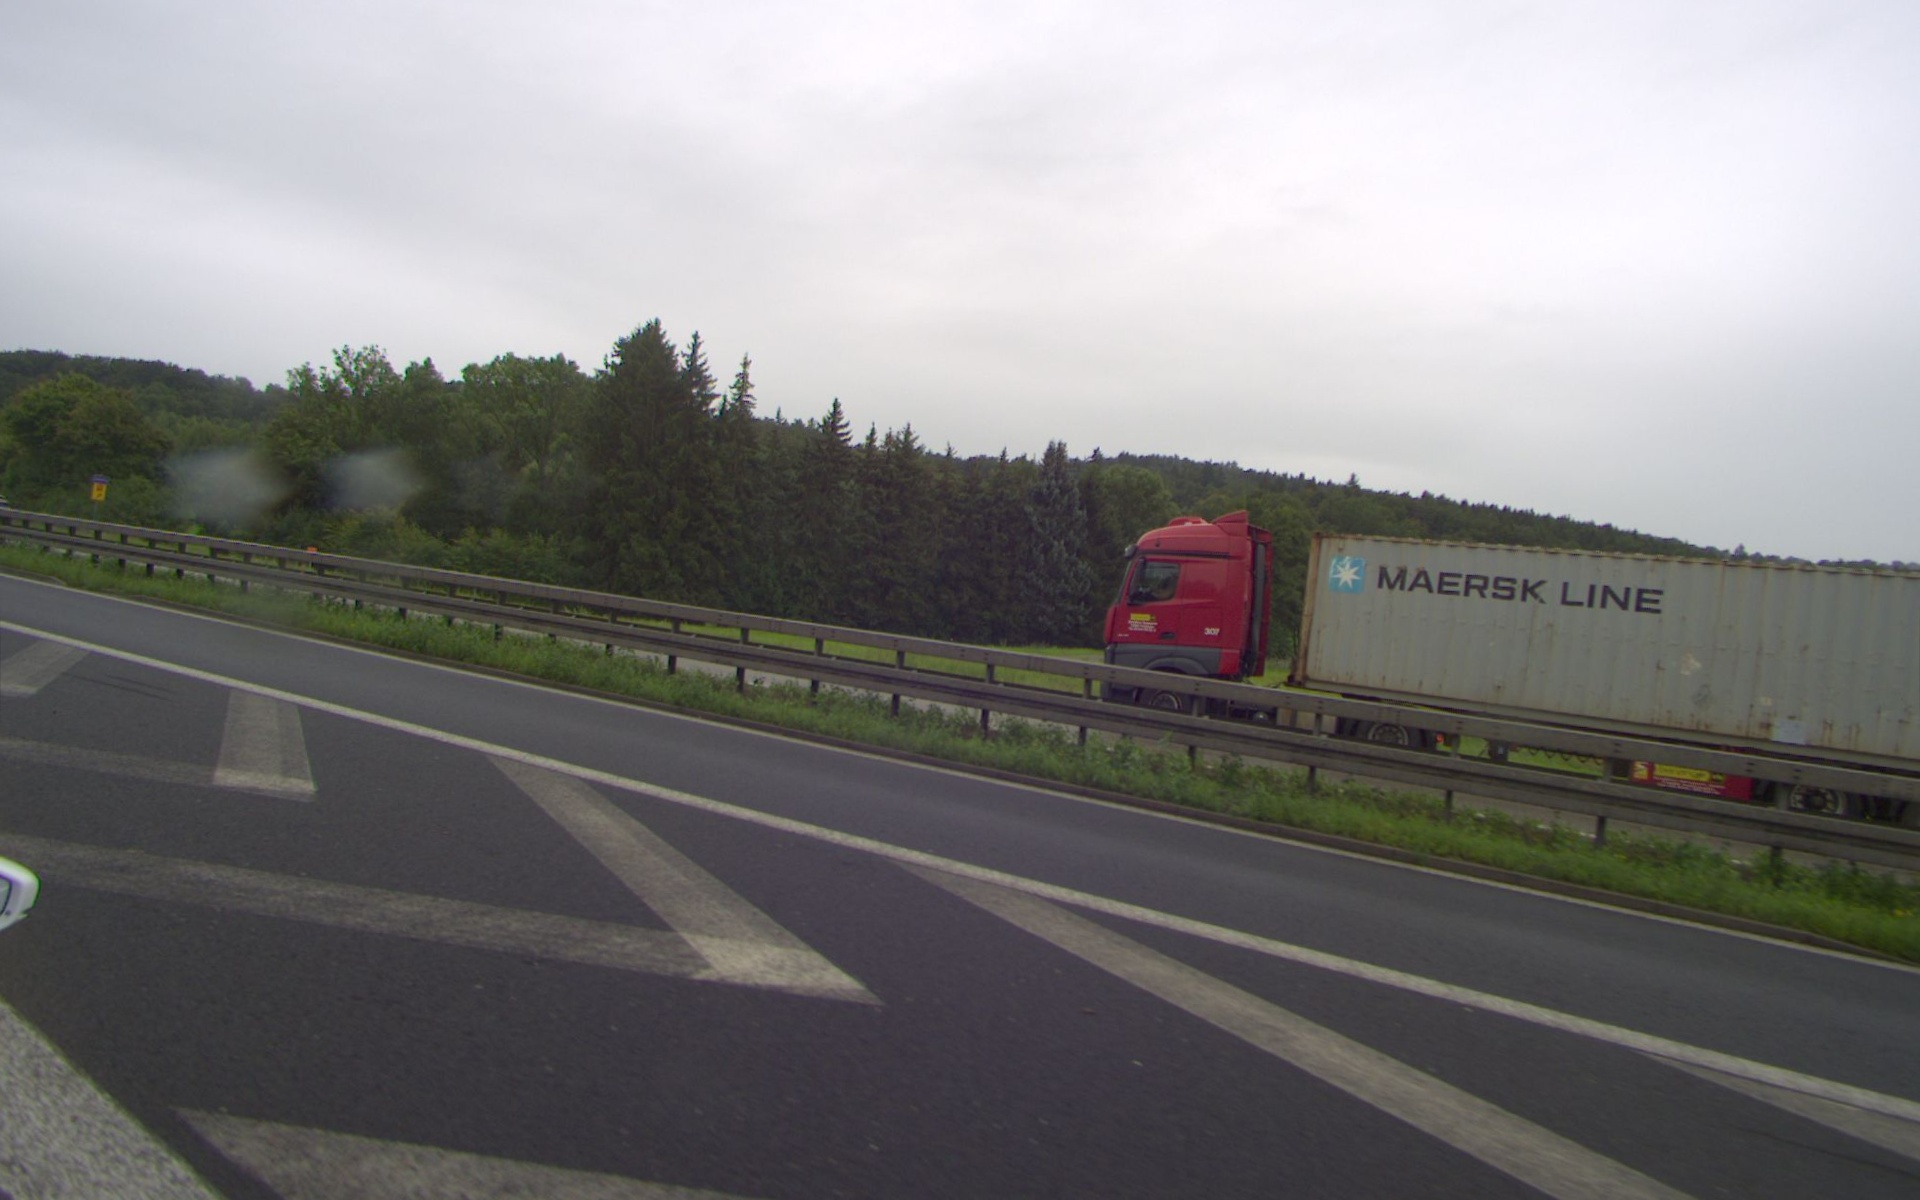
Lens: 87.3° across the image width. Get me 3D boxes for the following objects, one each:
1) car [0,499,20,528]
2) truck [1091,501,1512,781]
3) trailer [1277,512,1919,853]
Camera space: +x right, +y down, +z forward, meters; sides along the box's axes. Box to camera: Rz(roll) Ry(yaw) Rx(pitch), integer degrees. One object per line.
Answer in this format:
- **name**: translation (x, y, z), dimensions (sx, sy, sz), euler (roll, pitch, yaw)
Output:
- **car**: translation (-53.575, -4.920, 55.250), dimensions (3.933, 1.473, 1.680), euler (6, -2, 31)
- **truck**: translation (5.943, 0.609, 17.868), dimensions (6.280, 3.929, 2.624), euler (7, -2, 27)
- **trailer**: translation (11.483, 1.235, 15.013), dimensions (12.271, 3.939, 2.612), euler (6, -2, 27)
